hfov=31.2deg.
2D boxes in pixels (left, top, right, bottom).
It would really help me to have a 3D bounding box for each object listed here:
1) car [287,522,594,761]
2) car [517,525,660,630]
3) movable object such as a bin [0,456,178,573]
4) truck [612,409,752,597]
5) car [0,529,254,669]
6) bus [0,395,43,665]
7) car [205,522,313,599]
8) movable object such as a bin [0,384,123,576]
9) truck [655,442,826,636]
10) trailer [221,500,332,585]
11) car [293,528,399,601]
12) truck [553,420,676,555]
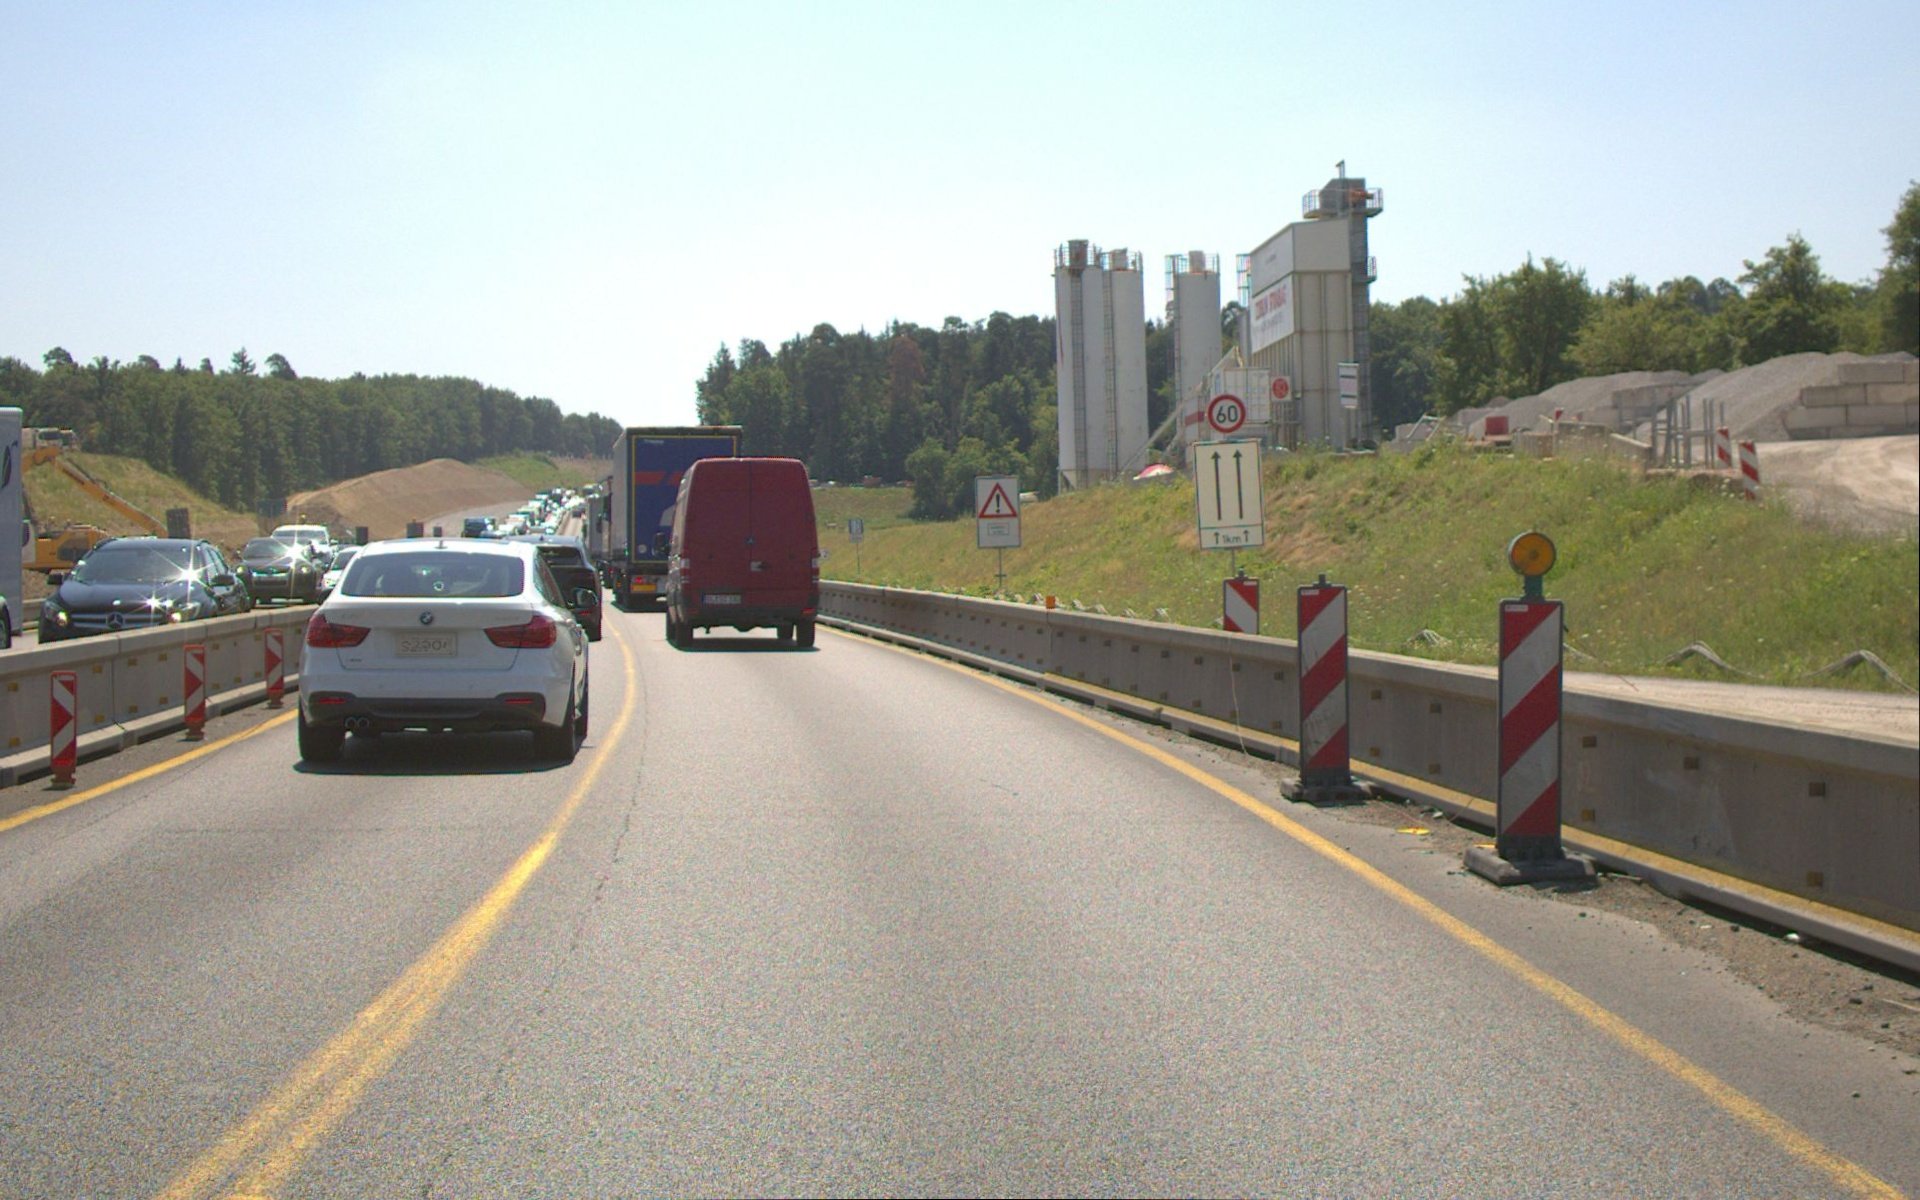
[{"bbox_3d":[-3.599,0.215,24.572,1.795,1.529,5.074,0,1,-4],"label":"car"},{"bbox_3d":[-5.704,-0.371,53.135,1.795,1.529,3.931,-1,1,-1],"label":"car"},{"bbox_3d":[-59.172,-5.325,217.032,18.707,7.206,3.617,-1,1,-8],"label":"movable object such as a bin"},{"bbox_3d":[-6.576,-2.242,80.449,3.015,4.138,8.274,-1,1,-6],"label":"truck"},{"bbox_3d":[-9.043,-0.057,37.665,1.808,1.409,4.399,-1,1,-2],"label":"car"},{"bbox_3d":[-12.161,-0.759,38.124,2.349,3.115,7.230,-1,1,-3],"label":"bus"},{"bbox_3d":[-15.765,-0.922,77.499,1.923,1.673,4.718,0,1,-6],"label":"car"},{"bbox_3d":[-38.315,-4.844,140.009,7.636,7.687,3.446,-1,1,-5],"label":"movable object such as a bin"},{"bbox_3d":[-3.294,-0.904,50.402,2.111,2.624,6.486,-1,1,-7],"label":"truck"},{"bbox_3d":[-16.446,-1.394,82.914,2.130,1.975,5.236,0,1,-6],"label":"trailer"},{"bbox_3d":[-12.826,-0.775,72.005,1.815,1.450,4.636,-1,1,-6],"label":"car"},{"bbox_3d":[-12.528,-4.063,125.551,3.683,4.675,9.753,-1,1,-1],"label":"truck"}]
